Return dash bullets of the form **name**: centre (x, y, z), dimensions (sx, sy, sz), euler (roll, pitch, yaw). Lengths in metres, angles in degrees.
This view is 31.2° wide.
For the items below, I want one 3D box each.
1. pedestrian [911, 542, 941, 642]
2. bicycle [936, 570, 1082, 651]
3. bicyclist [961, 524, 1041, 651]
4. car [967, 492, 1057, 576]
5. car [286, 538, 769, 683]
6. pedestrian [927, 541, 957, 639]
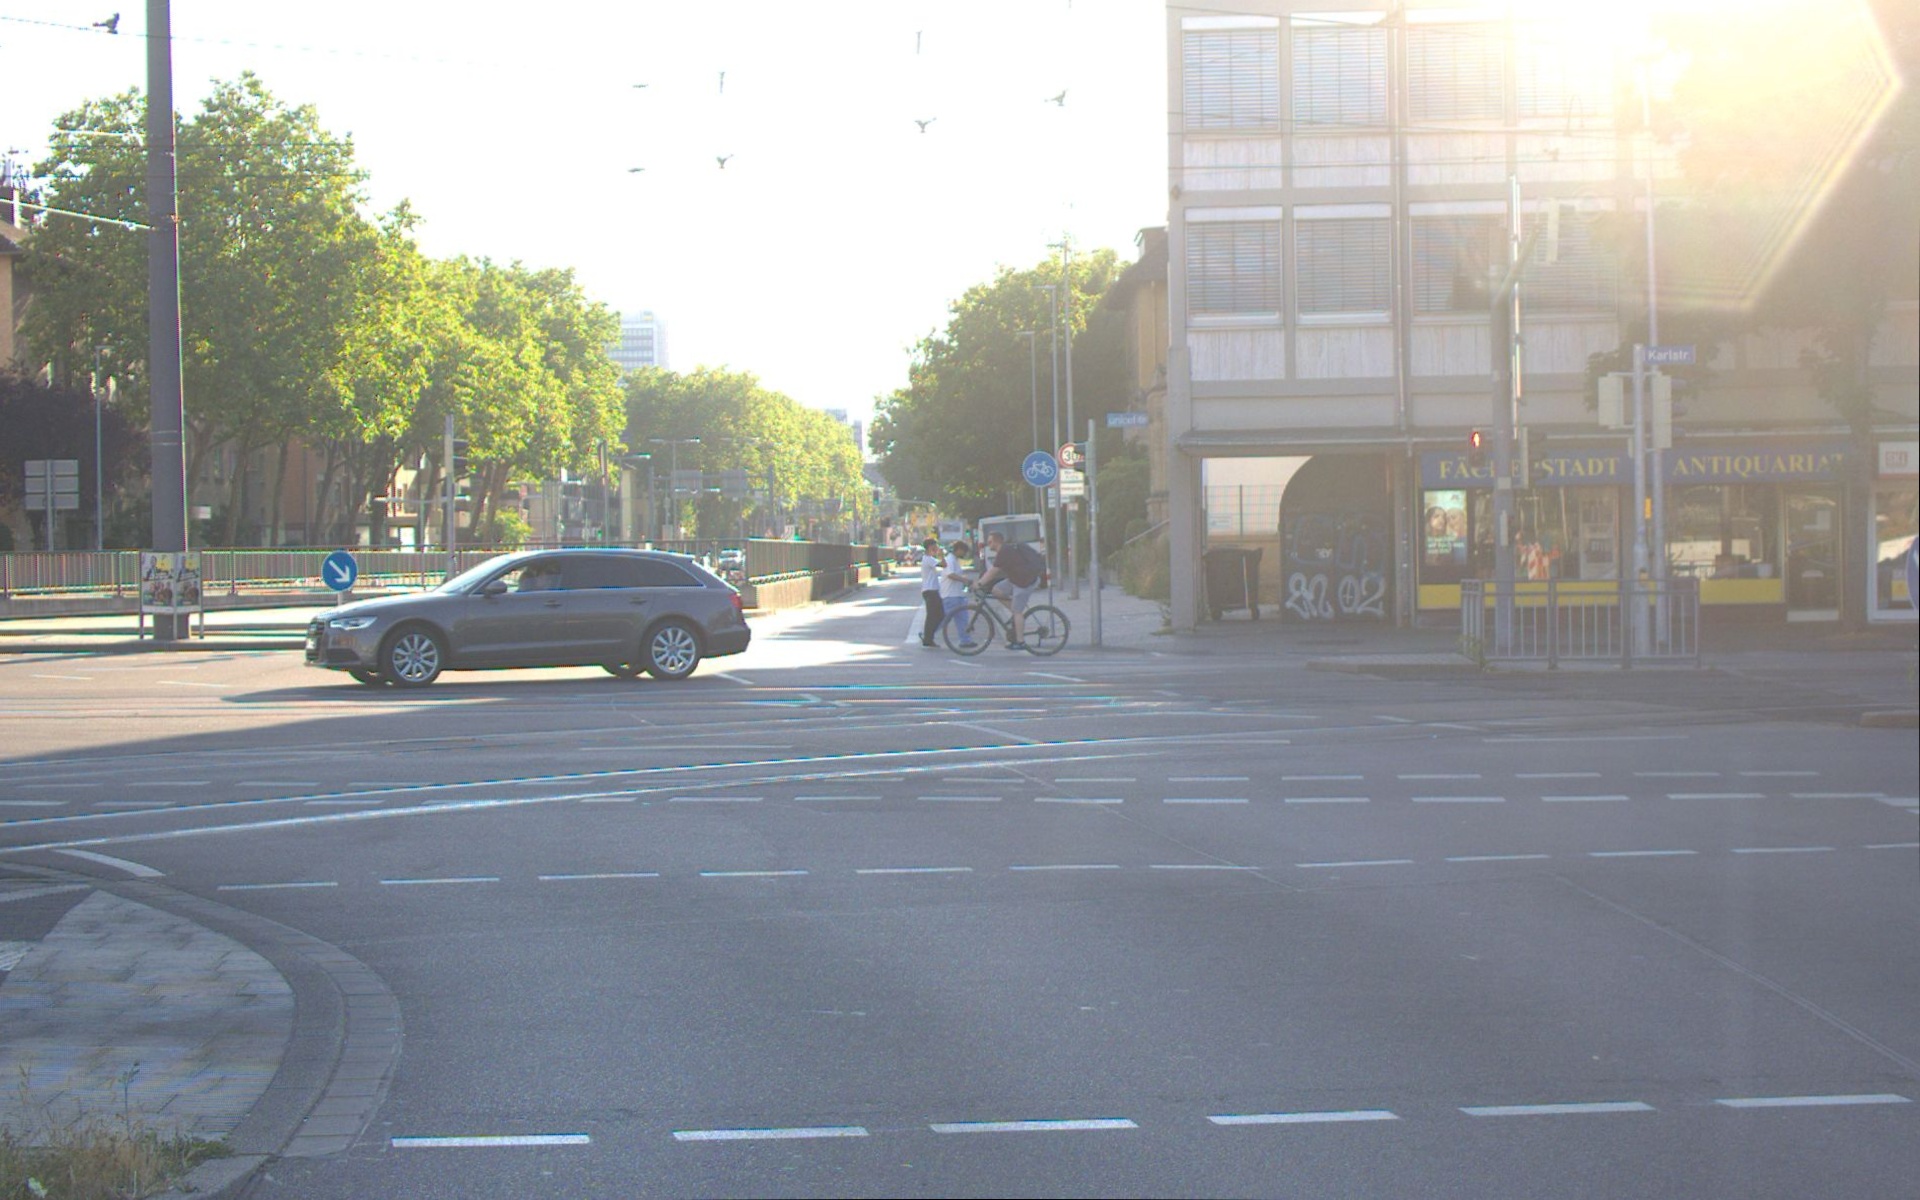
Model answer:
- **pedestrian**: centre (-0.513, -0.127, 51.903), dimensions (0.365, 1.502, 0.543), euler (-1, 1, -7)
- **bicycle**: centre (0.671, 0.139, 47.769), dimensions (1.972, 1.094, 0.677), euler (-1, 1, -4)
- **bicyclist**: centre (0.565, -0.181, 47.754), dimensions (1.040, 1.733, 0.678), euler (-1, 1, -4)
- **car**: centre (1.541, -1.980, 104.892), dimensions (2.486, 2.384, 5.935), euler (-2, 1, -1)
- **car**: centre (-4.783, 0.080, 38.049), dimensions (4.919, 1.474, 2.000), euler (-1, 1, -24)
- **pedestrian**: centre (-0.281, -0.157, 53.022), dimensions (0.365, 1.502, 0.543), euler (-1, 1, -7)
